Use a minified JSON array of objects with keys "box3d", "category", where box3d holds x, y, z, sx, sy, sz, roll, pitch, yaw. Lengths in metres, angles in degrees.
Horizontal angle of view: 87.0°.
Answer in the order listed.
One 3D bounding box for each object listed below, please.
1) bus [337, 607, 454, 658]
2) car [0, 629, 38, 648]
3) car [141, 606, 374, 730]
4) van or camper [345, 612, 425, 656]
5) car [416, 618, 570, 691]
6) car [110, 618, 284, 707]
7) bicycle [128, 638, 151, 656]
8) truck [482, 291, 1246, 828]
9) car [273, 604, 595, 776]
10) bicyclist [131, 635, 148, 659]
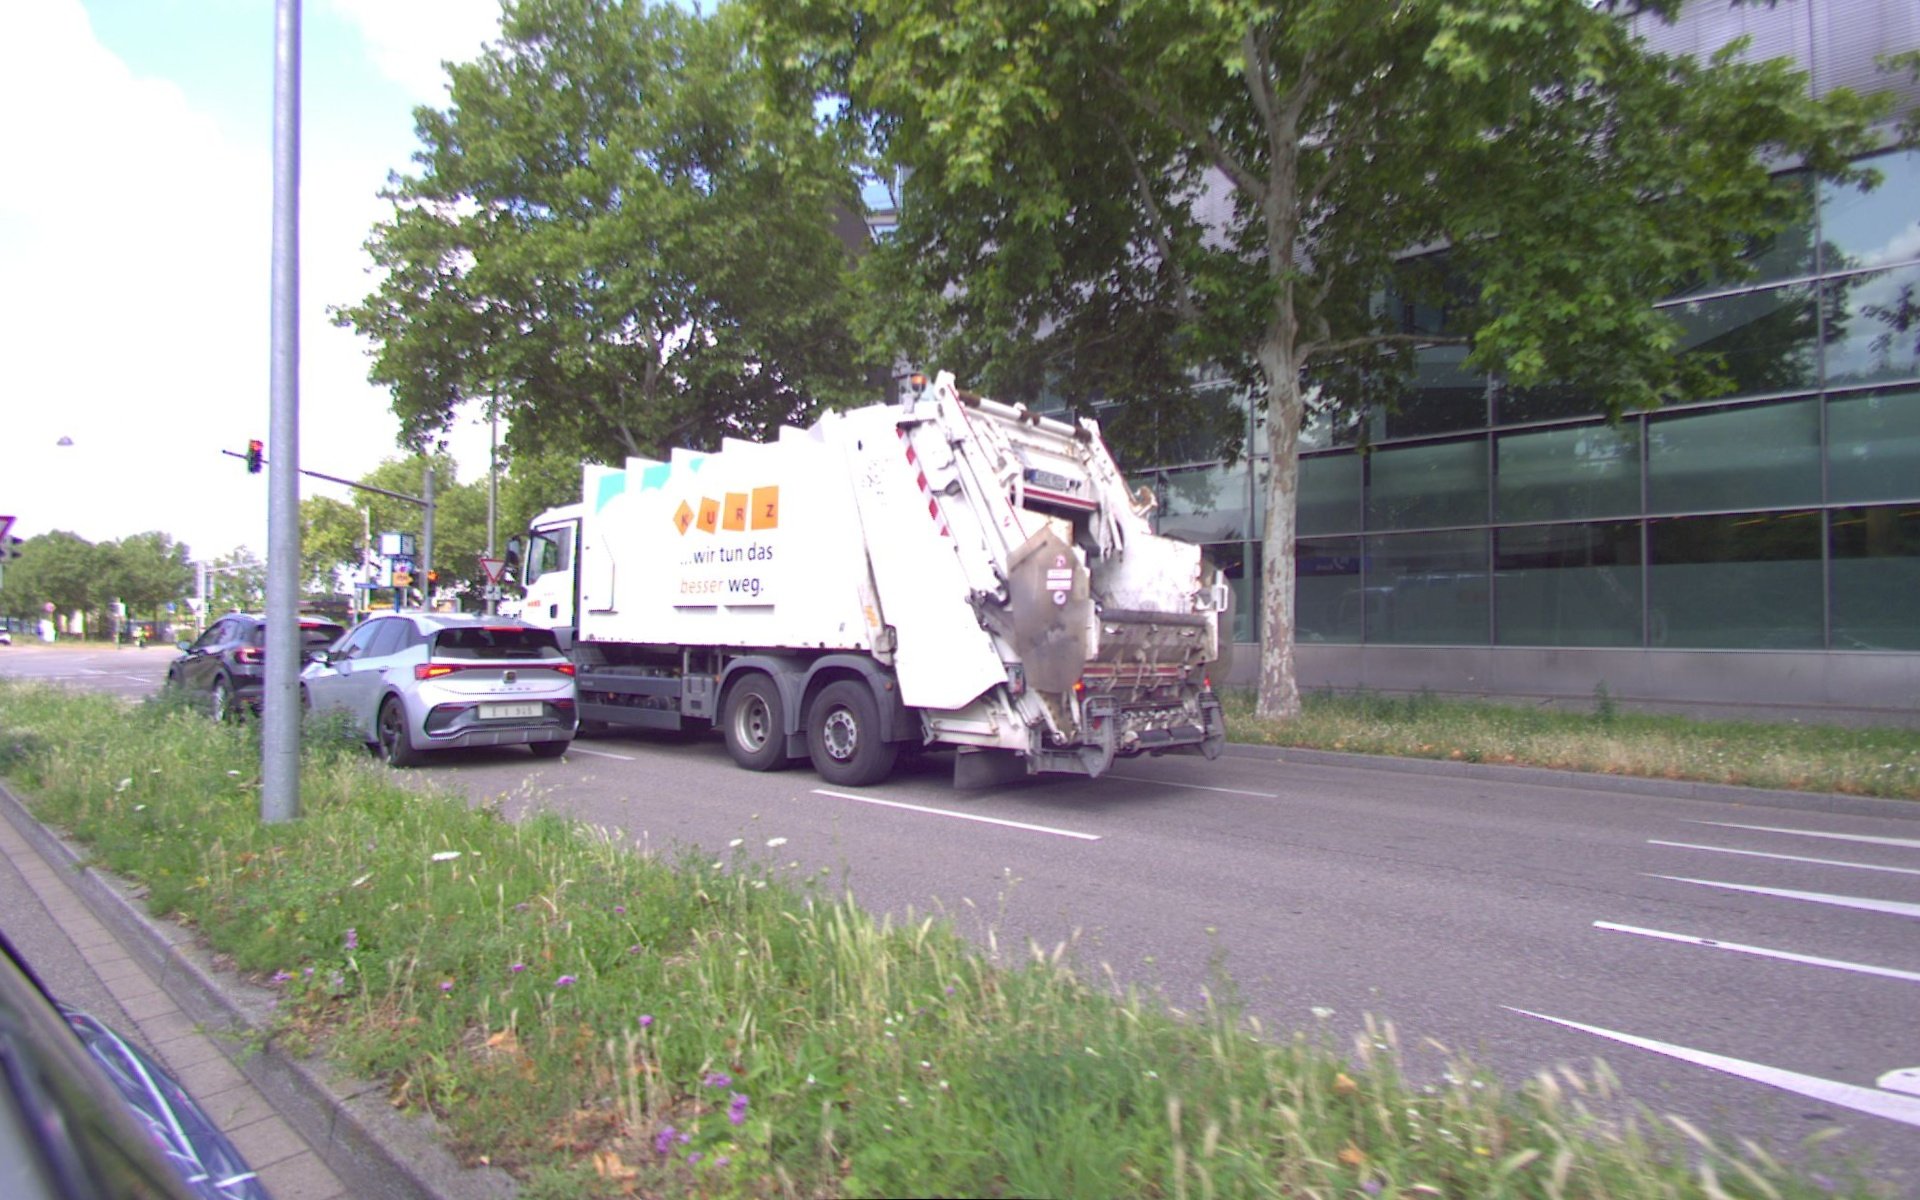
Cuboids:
[{"box3d":[-44.927,2.482,81.077,2.712,3.491,10.378,2,1,5],"category":"bus"},{"box3d":[-80.341,3.259,85.790,1.720,1.490,3.809,2,-4,-17],"category":"car"},{"box3d":[-10.627,0.972,15.190,4.359,1.599,1.690,0,-6,40],"category":"car"},{"box3d":[-42.366,2.448,74.806,2.137,2.806,5.958,3,1,4],"category":"van or camper"},{"box3d":[-11.197,1.244,24.153,3.994,1.584,1.712,-1,-2,38],"category":"car"},{"box3d":[-15.258,1.189,20.157,4.565,1.586,1.845,-2,-2,41],"category":"car"},{"box3d":[-61.172,3.485,75.451,2.227,1.205,0.670,1,3,35],"category":"bicycle"},{"box3d":[-1.999,-0.175,11.752,10.157,3.917,2.621,-1,-3,42],"category":"truck"},{"box3d":[-5.997,0.898,11.320,4.231,1.564,1.726,-1,-4,41],"category":"car"},{"box3d":[-61.081,3.487,75.338,0.835,1.692,0.670,1,3,33],"category":"bicyclist"}]
